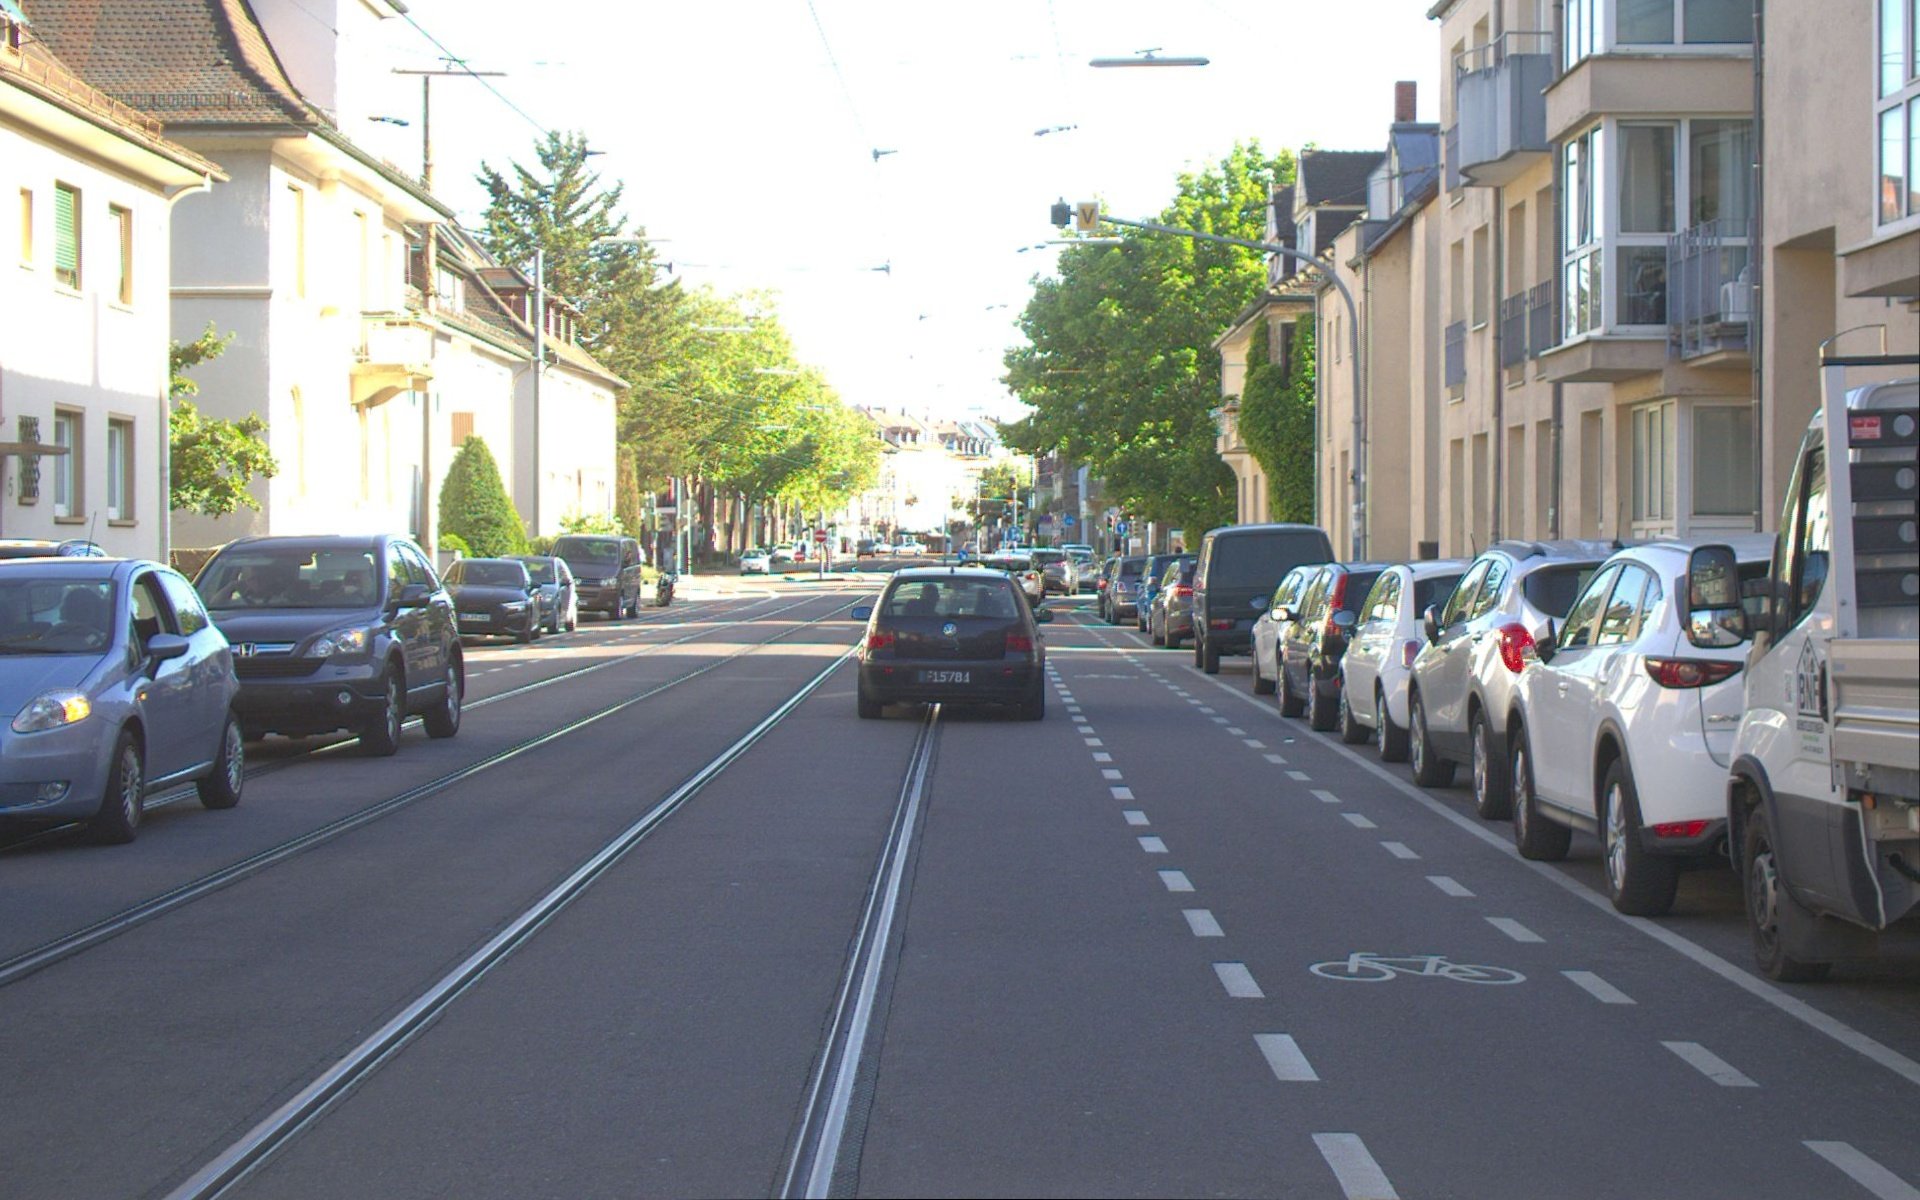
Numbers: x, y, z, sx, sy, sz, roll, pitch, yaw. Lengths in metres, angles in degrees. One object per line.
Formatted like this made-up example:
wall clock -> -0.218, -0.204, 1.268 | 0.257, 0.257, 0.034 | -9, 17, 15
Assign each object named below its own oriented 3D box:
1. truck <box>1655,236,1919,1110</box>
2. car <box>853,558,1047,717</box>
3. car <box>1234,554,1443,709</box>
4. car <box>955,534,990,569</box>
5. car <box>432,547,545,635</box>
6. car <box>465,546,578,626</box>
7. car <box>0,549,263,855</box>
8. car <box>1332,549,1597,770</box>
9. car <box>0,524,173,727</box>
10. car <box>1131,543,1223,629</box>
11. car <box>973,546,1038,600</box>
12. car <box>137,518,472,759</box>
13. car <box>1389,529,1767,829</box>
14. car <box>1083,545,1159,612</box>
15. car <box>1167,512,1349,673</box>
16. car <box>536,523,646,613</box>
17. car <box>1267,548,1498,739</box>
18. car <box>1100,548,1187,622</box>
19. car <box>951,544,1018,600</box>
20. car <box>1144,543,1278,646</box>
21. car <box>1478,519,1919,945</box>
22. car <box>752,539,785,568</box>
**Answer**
truck -> 3.870, 0.194, 10.482 | 2.295, 2.469, 6.146 | 0, 1, 1
car -> -0.076, 0.308, 32.511 | 1.716, 1.398, 4.006 | 0, 1, 0
car -> 3.982, 0.288, 36.744 | 1.677, 1.486, 4.173 | 2, 1, -1
car -> 0.680, -2.692, 190.313 | 1.787, 1.853, 4.000 | 3, 1, -1
car -> -8.318, -0.184, 60.854 | 1.662, 1.472, 4.251 | 0, 1, -4
car -> -8.583, -0.301, 67.542 | 1.676, 1.472, 3.835 | 2, 1, 0
car -> -5.005, 0.472, 18.521 | 1.617, 1.456, 4.075 | -1, 1, 0
car -> 3.875, 0.411, 26.857 | 1.496, 1.552, 3.365 | 2, 1, -1
car -> -8.526, 0.193, 31.130 | 1.762, 1.699, 4.556 | -1, 1, -1
car -> 4.222, -0.295, 67.297 | 1.457, 1.593, 3.294 | 2, 1, -2
car -> 1.238, -0.764, 94.729 | 1.740, 1.436, 3.809 | 0, 1, 0
car -> -4.924, 0.241, 26.384 | 1.703, 1.699, 4.364 | 0, 1, 0
car -> 3.837, 0.421, 21.965 | 1.602, 1.694, 3.990 | 2, 1, -1
car -> 3.929, -0.540, 84.304 | 1.665, 1.558, 3.771 | 2, 1, 0
car -> 3.906, -0.139, 45.771 | 1.906, 1.980, 4.563 | 2, 1, -1
car -> -8.715, -0.787, 81.520 | 1.906, 2.007, 4.949 | 2, 1, 1
car -> 3.750, 0.343, 31.012 | 1.554, 1.552, 3.652 | 2, 1, -1
car -> 4.031, -0.353, 75.892 | 1.601, 1.520, 3.550 | 2, 1, -2
car -> 0.629, -0.710, 85.698 | 1.634, 1.367, 3.757 | 0, 1, 1
car -> 4.164, -0.125, 57.615 | 1.744, 1.593, 4.434 | 2, 1, -2
car -> 3.692, 0.521, 16.485 | 1.739, 1.740, 4.256 | 2, 1, 0
car -> -10.149, -2.469, 182.235 | 1.575, 1.472, 3.441 | -1, 1, -6
